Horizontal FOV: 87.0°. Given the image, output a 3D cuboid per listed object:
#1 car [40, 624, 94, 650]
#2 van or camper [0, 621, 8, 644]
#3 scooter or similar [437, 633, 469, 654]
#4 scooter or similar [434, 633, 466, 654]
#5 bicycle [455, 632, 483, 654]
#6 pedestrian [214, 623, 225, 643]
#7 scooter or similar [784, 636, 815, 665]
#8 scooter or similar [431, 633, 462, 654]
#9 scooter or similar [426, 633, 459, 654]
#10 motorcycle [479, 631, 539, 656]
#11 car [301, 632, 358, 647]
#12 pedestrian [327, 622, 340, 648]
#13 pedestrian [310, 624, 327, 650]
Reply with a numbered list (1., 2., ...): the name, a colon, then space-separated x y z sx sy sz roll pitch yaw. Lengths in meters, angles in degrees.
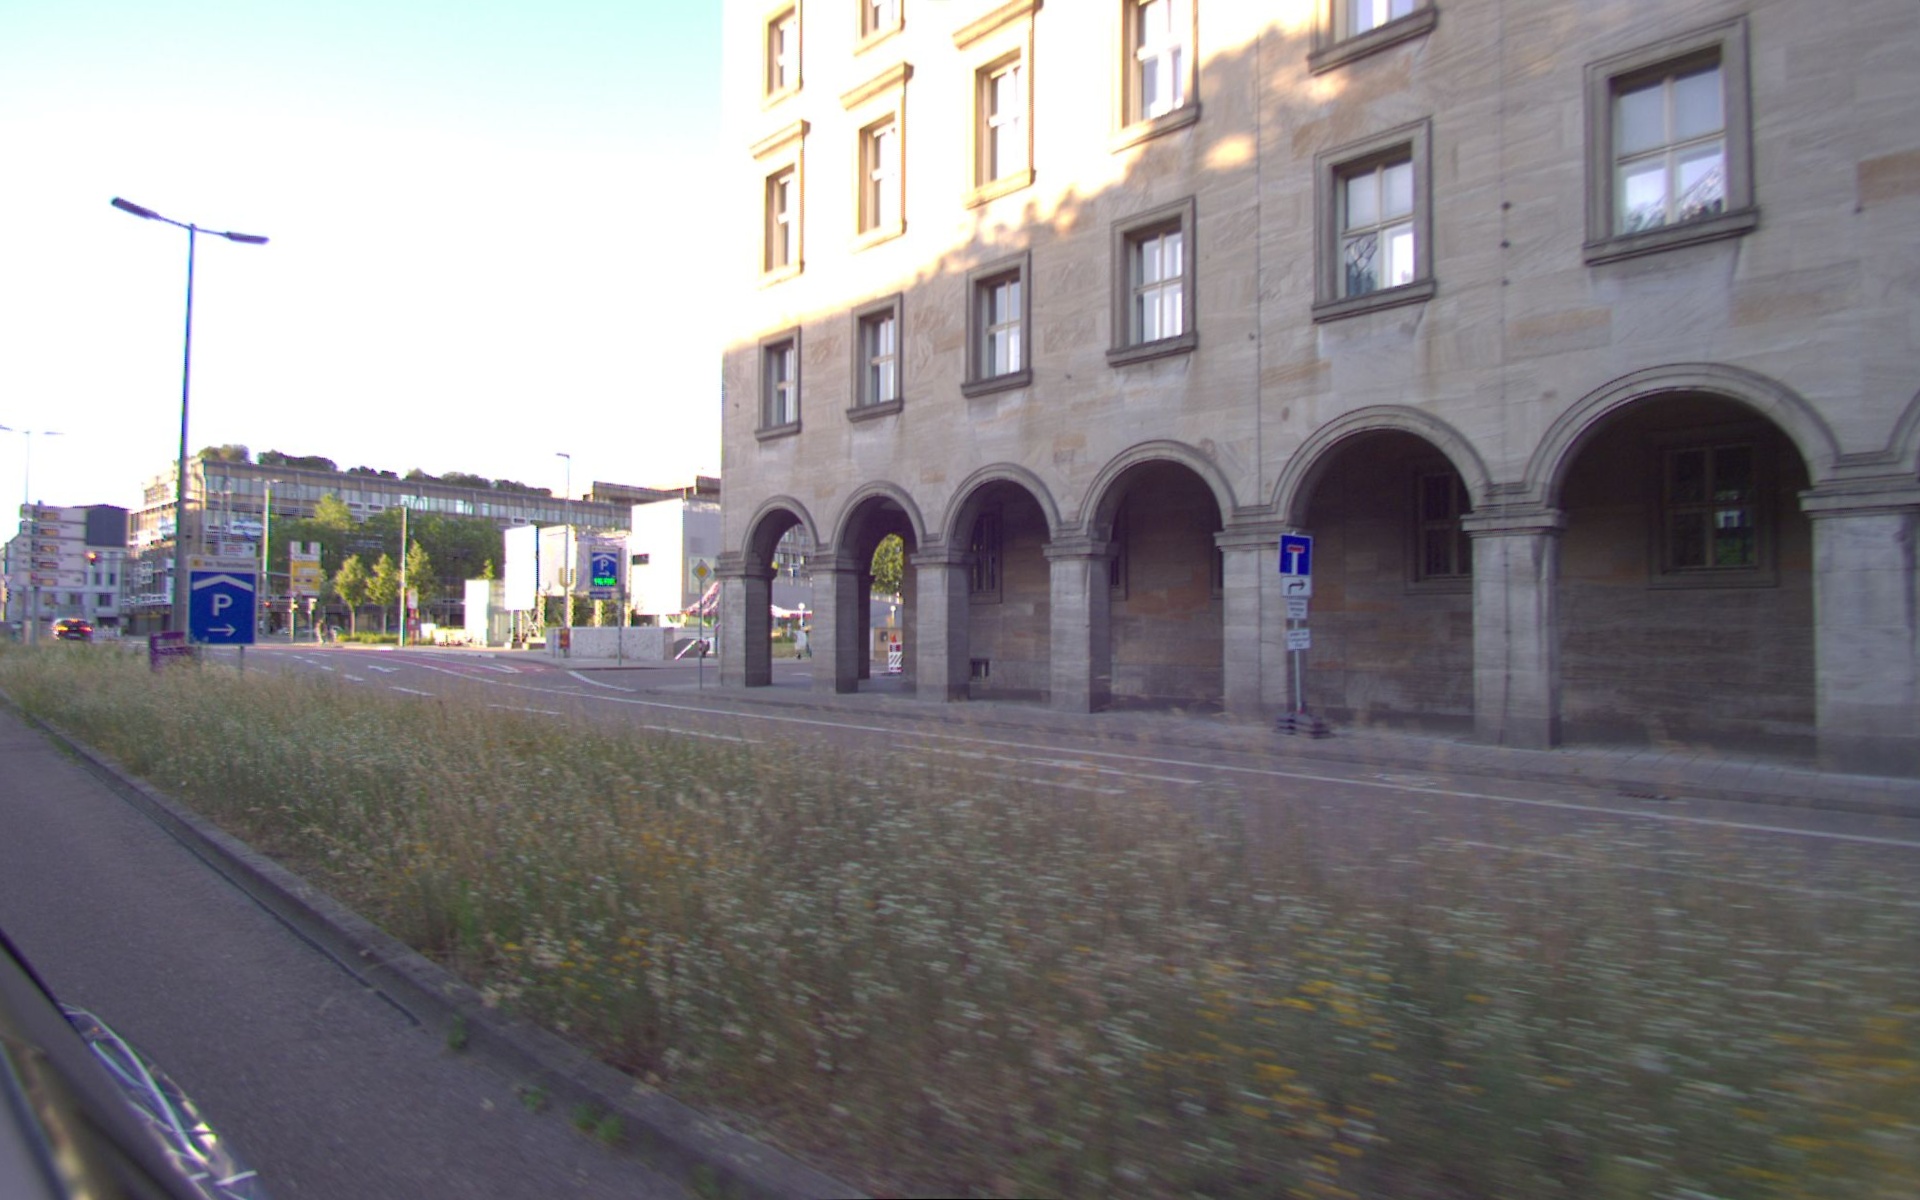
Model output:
1. car: -52.902 2.168 59.928 4.536 1.477 1.866 -2 -3 42
2. van or camper: -120.413 4.068 125.821 6.156 2.687 2.204 -3 -3 39
3. scooter or similar: -32.104 2.748 64.126 0.422 1.315 1.818 -1 -2 36
4. scooter or similar: -32.451 2.760 64.399 0.422 1.315 1.813 -1 -2 36
5. bicycle: -30.527 2.683 62.886 2.508 1.334 0.610 -1 -3 41
6. pedestrian: -72.832 3.280 99.524 0.680 1.946 0.636 -1 -3 40
7. scooter or similar: -6.972 2.171 44.004 0.543 1.233 1.554 0 -2 24
8. scooter or similar: -32.825 2.773 64.706 0.417 1.315 1.771 -1 -2 36
9. scooter or similar: -33.242 2.773 64.999 0.500 1.315 1.841 -1 -2 36
10. motorcycle: -27.023 2.595 60.691 0.839 1.393 3.199 -1 -1 41
11. car: -71.540 4.492 114.854 2.000 1.597 5.091 -2 -3 42
12. pedestrian: -46.752 2.615 75.466 0.648 1.948 0.652 -3 -4 44
13. pedestrian: -47.410 2.728 74.765 0.776 1.851 0.862 -2 -3 44
